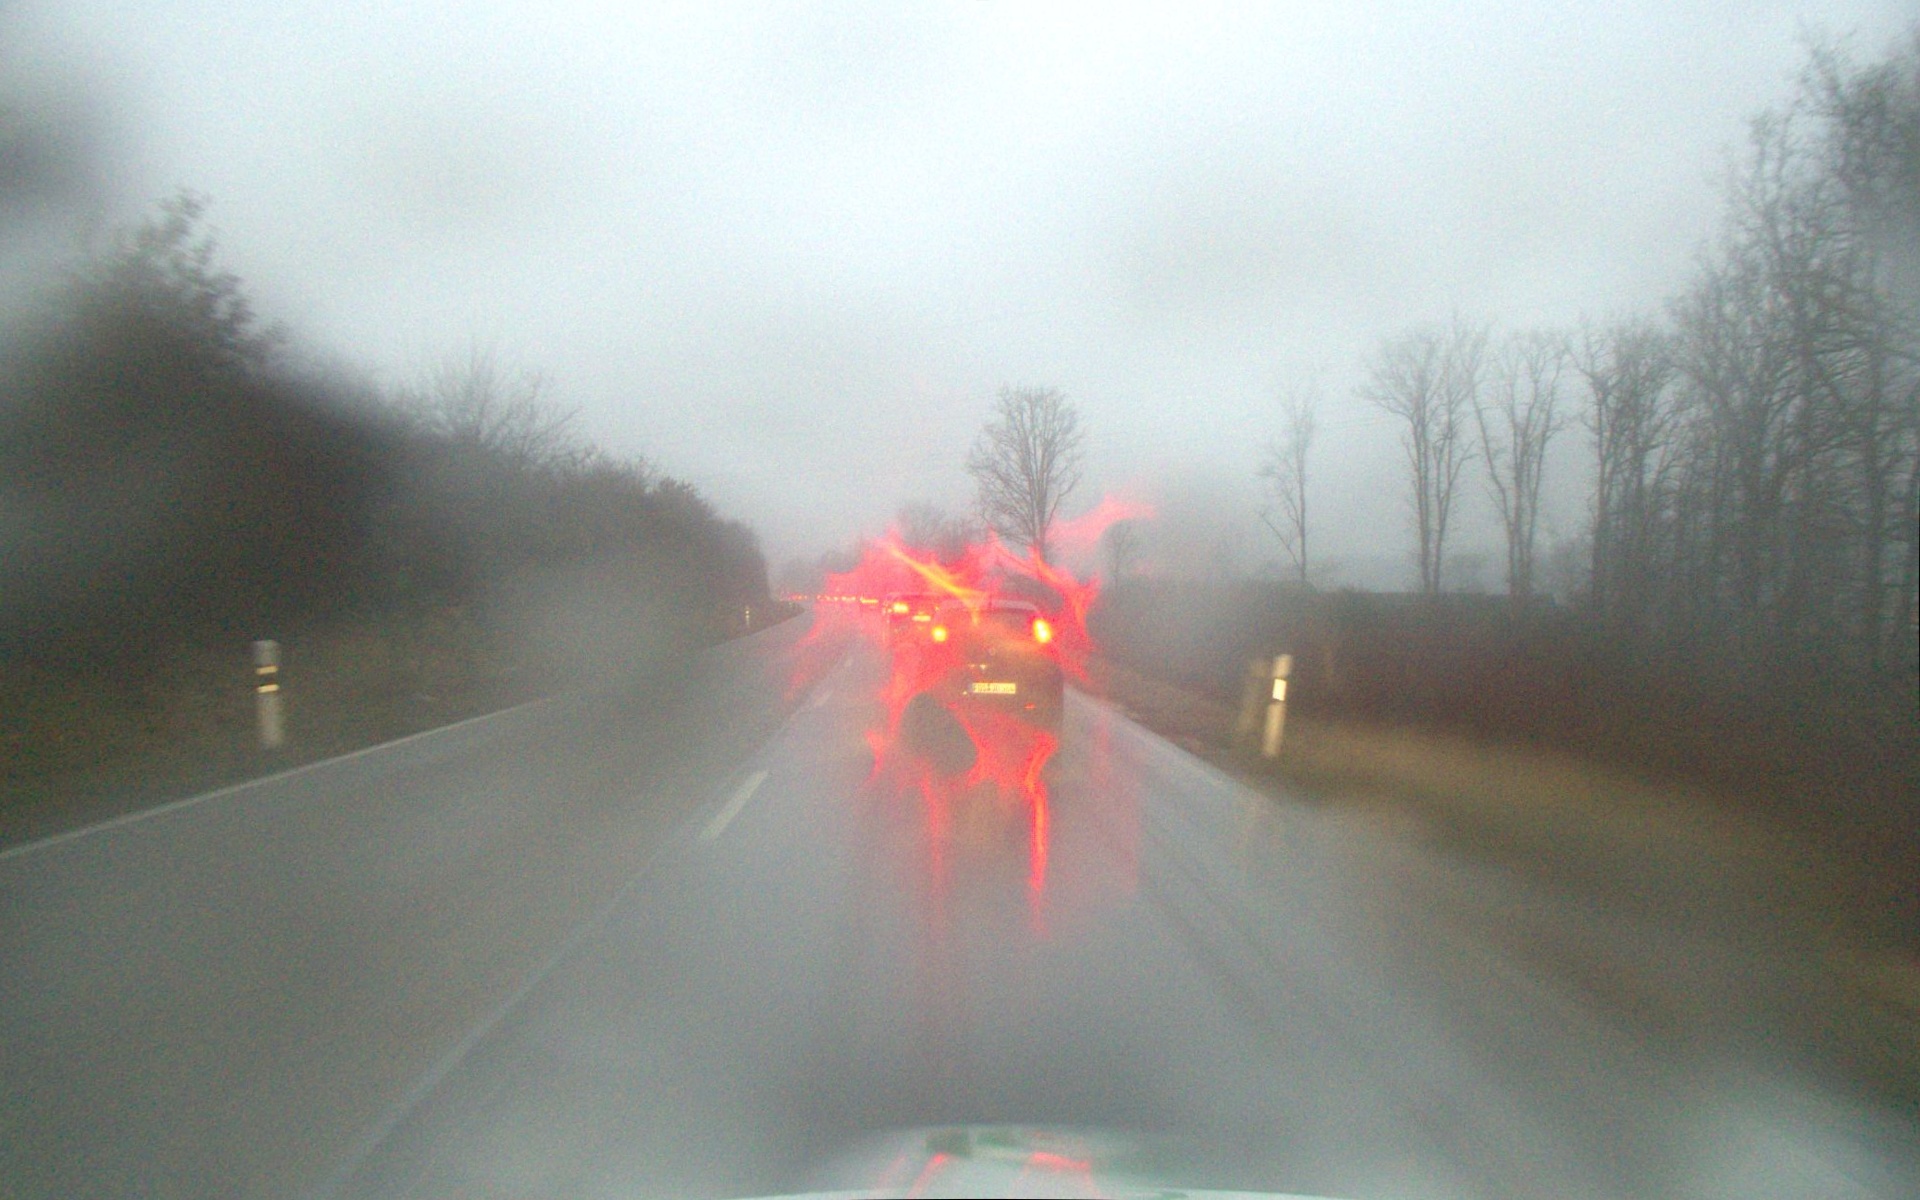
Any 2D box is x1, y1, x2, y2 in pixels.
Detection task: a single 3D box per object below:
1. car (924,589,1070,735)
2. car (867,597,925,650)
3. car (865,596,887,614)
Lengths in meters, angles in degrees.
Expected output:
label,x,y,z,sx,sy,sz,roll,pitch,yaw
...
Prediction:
label,x,y,z,sx,sy,sz,roll,pitch,yaw
car,0.418,0.666,19.834,1.569,1.549,3.869,1,0,0
car,-1.755,0.627,46.239,1.515,1.421,3.868,1,0,-1
car,-6.967,0.424,137.299,1.515,1.421,3.870,1,0,2
